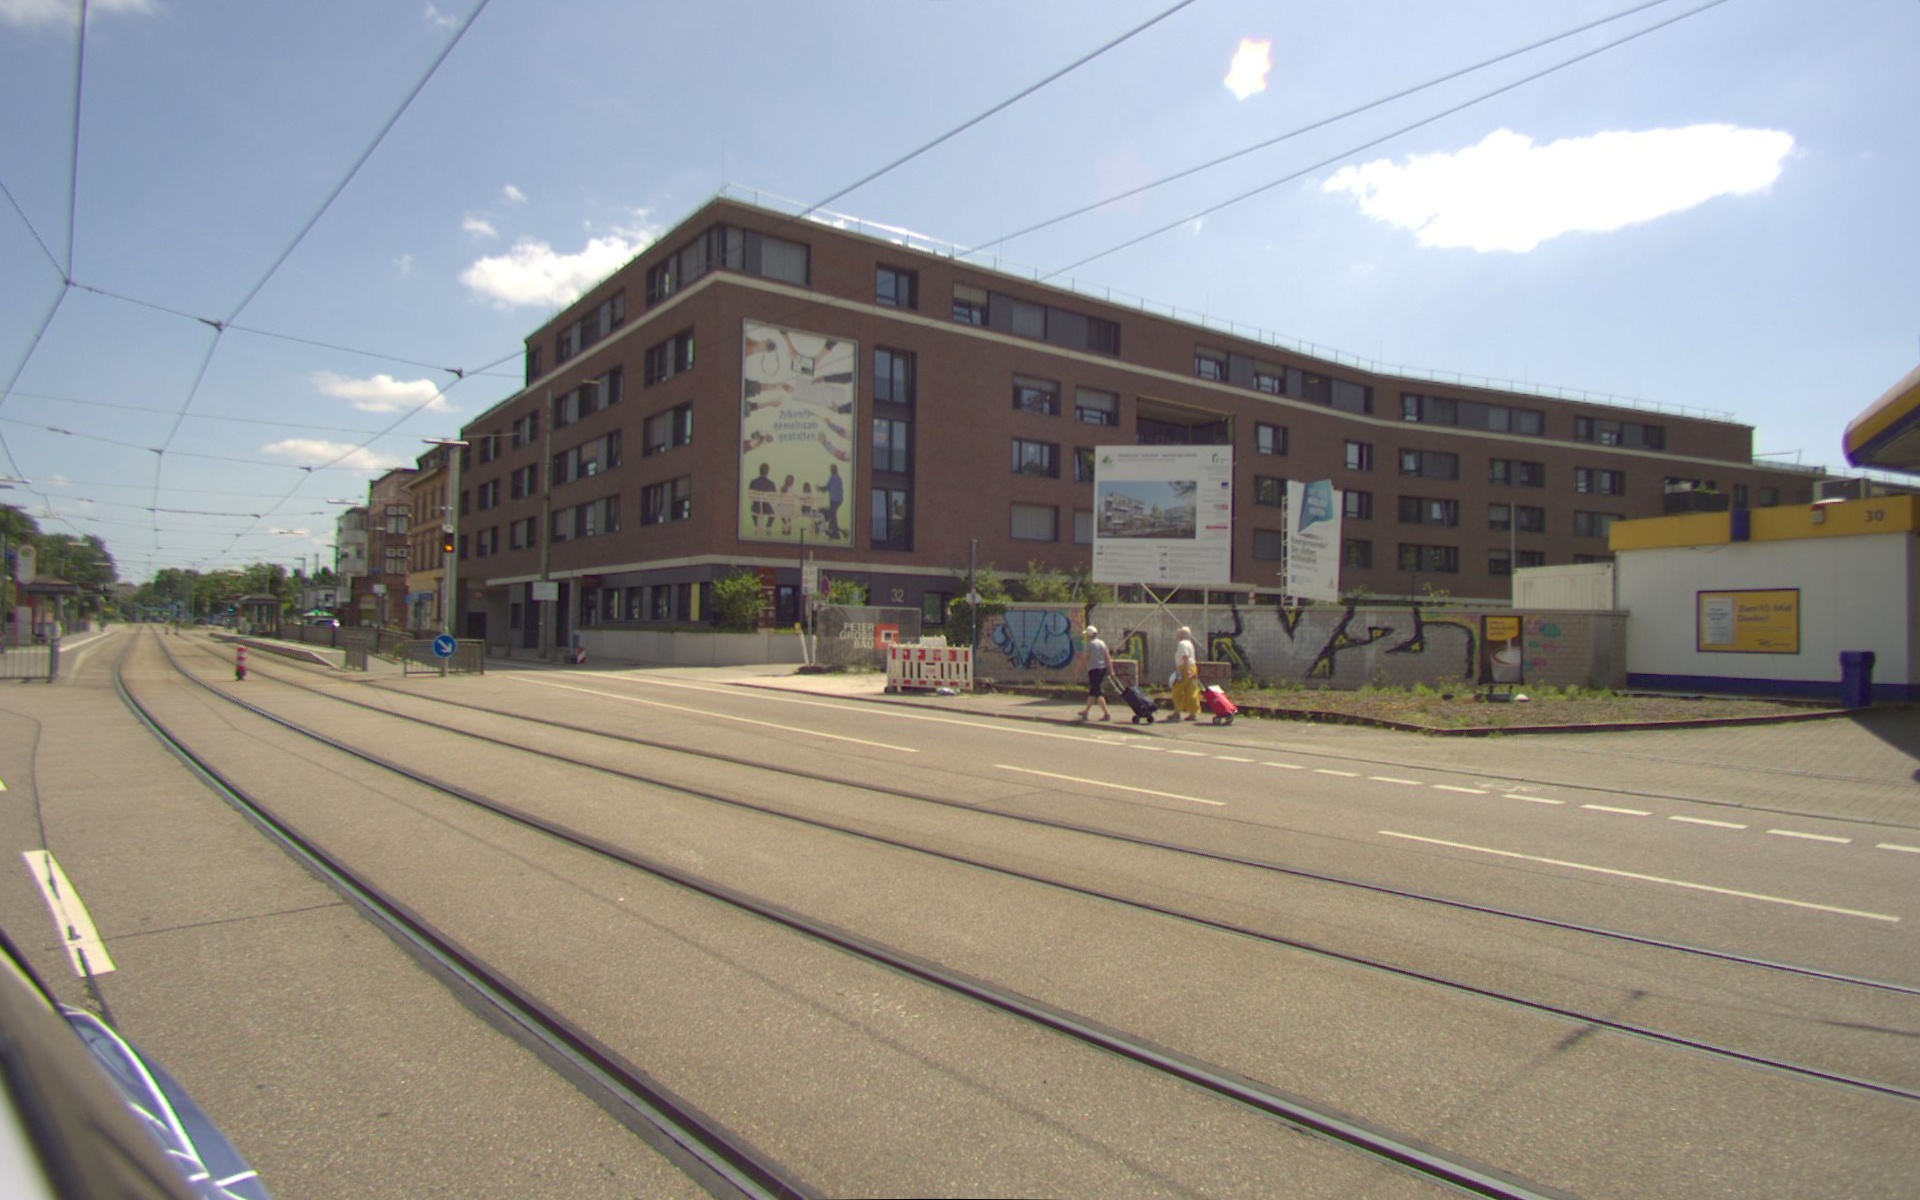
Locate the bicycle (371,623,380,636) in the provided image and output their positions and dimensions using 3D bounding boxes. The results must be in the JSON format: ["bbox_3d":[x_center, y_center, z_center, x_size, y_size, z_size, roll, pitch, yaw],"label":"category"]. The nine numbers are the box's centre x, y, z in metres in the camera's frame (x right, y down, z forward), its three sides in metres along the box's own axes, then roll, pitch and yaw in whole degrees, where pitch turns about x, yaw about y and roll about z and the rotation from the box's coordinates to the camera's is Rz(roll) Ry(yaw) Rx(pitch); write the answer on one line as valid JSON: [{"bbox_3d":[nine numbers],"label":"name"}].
[{"bbox_3d":[-37.384,1.877,64.703,0.288,0.767,1.189,5,-3,-38],"label":"bicycle"}]

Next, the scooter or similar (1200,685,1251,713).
[{"bbox_3d":[4.400,1.633,16.803,0.467,0.397,0.673,2,-2,-39],"label":"scooter or similar"}]

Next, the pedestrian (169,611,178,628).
[{"bbox_3d":[-74.967,1.866,96.430,0.569,1.568,0.788,5,-3,-36],"label":"pedestrian"}]

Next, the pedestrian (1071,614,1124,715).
[{"bbox_3d":[2.346,1.085,17.258,0.573,1.684,0.668,2,-2,-38],"label":"pedestrian"}]

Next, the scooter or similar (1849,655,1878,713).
[{"bbox_3d":[15.103,1.393,16.910,0.400,0.937,0.327,2,-2,-44],"label":"scooter or similar"}]

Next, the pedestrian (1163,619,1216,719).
[{"bbox_3d":[3.946,1.172,17.417,0.546,1.670,0.673,2,-2,-39],"label":"pedestrian"}]

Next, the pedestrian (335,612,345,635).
[{"bbox_3d":[-56.627,2.158,92.460,0.610,2.029,0.811,2,-2,-41],"label":"pedestrian"}]

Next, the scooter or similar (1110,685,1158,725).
[{"bbox_3d":[2.862,1.724,16.682,0.470,0.585,0.633,2,-2,-36],"label":"scooter or similar"}]

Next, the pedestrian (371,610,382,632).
[{"bbox_3d":[-37.357,1.324,64.778,0.430,1.394,0.537,5,-3,-39],"label":"pedestrian"}]
